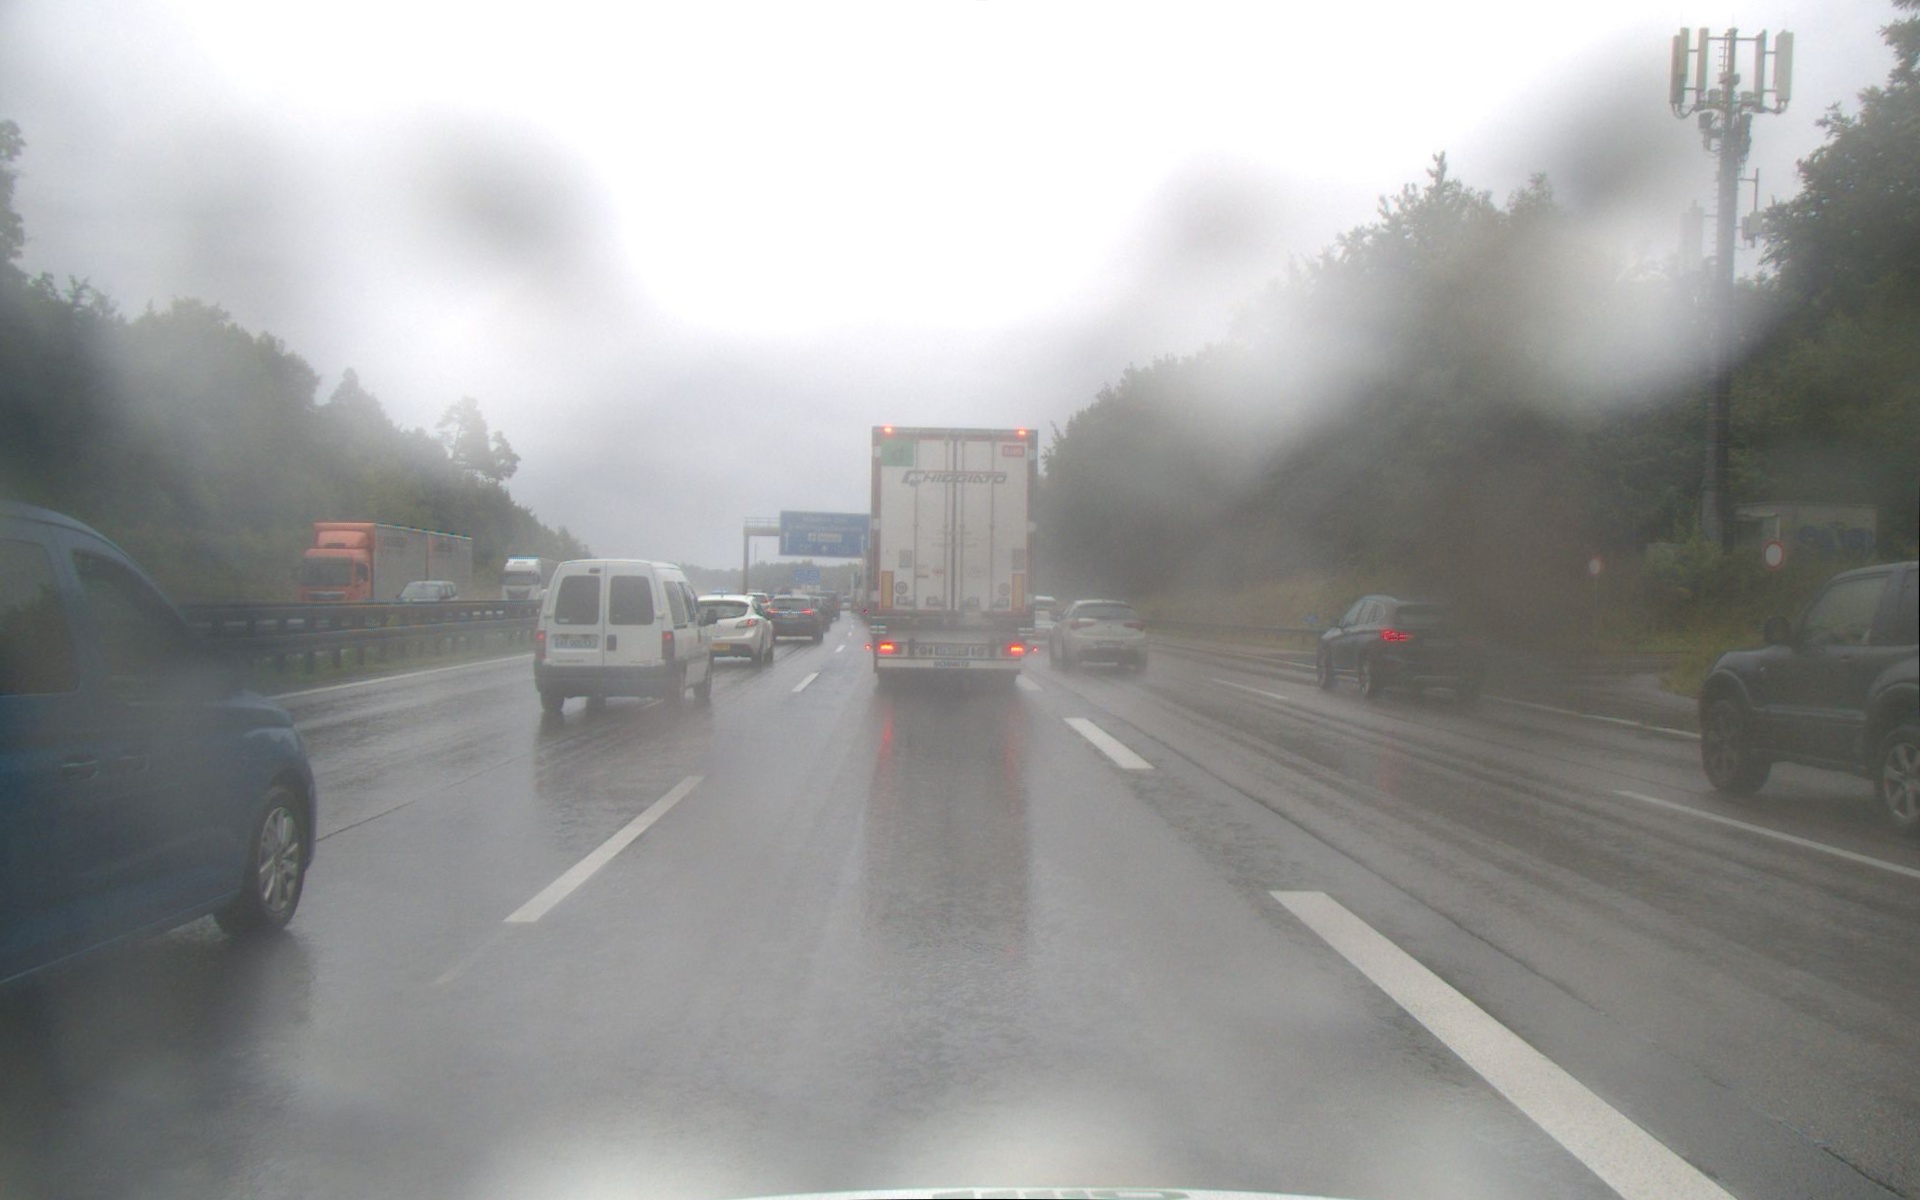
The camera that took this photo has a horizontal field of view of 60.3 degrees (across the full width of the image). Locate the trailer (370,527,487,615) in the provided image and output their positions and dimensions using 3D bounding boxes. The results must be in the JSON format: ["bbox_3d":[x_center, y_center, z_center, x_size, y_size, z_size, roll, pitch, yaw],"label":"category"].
[{"bbox_3d":[-24.982,-1.325,78.287,2.628,3.884,9.006,1,0,0],"label":"trailer"}]

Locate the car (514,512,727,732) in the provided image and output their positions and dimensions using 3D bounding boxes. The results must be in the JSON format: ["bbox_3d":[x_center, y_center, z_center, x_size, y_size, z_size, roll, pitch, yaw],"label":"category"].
[{"bbox_3d":[-4.424,0.251,22.364,2.169,2.618,5.011,1,0,-4],"label":"car"}]

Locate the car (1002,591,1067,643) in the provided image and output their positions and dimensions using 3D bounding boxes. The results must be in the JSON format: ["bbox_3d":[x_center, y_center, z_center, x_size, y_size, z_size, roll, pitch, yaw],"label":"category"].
[{"bbox_3d":[2.314,0.506,52.126,1.808,1.549,4.343,1,0,0],"label":"car"}]

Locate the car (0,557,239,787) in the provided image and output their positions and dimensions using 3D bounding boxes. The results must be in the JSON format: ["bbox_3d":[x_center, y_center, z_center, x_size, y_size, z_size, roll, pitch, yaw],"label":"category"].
[{"bbox_3d":[-7.750,0.475,13.638,1.808,1.619,4.464,1,0,-3],"label":"car"}]

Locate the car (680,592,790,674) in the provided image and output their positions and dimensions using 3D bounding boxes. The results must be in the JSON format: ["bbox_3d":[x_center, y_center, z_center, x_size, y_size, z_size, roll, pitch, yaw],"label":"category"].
[{"bbox_3d":[-4.805,0.663,35.815,1.808,1.619,4.072,1,0,0],"label":"car"}]

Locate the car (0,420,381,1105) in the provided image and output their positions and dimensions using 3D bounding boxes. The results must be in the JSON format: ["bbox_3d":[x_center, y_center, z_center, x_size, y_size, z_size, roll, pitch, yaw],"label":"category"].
[{"bbox_3d":[-3.824,0.445,5.121,2.223,1.945,5.016,1,0,1],"label":"car"}]

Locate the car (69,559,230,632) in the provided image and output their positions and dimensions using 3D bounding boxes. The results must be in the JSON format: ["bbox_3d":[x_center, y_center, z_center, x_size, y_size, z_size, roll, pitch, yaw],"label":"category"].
[{"bbox_3d":[-19.092,-0.118,39.148,1.822,1.624,4.000,1,0,0],"label":"car"}]

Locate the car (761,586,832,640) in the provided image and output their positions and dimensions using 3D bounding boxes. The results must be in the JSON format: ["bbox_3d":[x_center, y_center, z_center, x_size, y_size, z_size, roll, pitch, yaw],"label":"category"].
[{"bbox_3d":[-5.192,0.382,52.951,1.808,1.619,4.466,1,0,0],"label":"car"}]

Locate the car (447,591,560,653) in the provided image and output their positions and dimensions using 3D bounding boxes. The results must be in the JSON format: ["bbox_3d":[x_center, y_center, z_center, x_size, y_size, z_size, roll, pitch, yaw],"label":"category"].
[{"bbox_3d":[-12.341,0.560,44.993,2.049,1.531,4.750,-1,1,-4],"label":"car"}]

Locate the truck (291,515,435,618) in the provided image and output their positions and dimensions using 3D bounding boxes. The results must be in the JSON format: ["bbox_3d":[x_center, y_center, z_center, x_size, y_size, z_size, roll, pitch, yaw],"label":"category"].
[{"bbox_3d":[-24.866,-1.333,69.532,2.649,4.000,10.024,1,0,-2],"label":"truck"}]

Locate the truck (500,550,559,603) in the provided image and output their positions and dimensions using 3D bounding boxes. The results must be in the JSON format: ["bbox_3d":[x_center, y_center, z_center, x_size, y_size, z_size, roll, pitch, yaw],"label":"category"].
[{"bbox_3d":[-32.393,-1.771,124.634,2.959,3.884,6.261,1,0,-2],"label":"truck"}]

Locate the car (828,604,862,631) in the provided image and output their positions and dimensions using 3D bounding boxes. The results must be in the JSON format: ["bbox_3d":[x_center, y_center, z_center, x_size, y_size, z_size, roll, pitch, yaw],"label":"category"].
[{"bbox_3d":[-6.316,0.931,91.099,1.809,1.354,4.463,1,0,-4],"label":"car"}]

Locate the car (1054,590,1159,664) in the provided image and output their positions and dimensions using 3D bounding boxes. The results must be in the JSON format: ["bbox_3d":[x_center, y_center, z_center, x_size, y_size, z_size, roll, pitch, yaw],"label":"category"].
[{"bbox_3d":[3.099,0.538,35.765,1.851,1.450,4.483,1,0,0],"label":"car"}]

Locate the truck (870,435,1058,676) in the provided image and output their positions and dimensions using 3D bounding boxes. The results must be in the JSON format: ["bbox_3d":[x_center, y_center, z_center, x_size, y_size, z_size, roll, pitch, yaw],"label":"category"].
[{"bbox_3d":[-0.038,-0.658,30.842,2.814,3.624,11.299,1,0,-1],"label":"truck"}]

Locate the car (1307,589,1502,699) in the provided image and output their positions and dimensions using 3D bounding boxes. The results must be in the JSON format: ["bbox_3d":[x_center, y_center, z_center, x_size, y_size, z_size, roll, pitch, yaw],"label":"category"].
[{"bbox_3d":[7.156,0.635,27.135,1.949,1.611,4.767,1,0,1],"label":"car"}]
